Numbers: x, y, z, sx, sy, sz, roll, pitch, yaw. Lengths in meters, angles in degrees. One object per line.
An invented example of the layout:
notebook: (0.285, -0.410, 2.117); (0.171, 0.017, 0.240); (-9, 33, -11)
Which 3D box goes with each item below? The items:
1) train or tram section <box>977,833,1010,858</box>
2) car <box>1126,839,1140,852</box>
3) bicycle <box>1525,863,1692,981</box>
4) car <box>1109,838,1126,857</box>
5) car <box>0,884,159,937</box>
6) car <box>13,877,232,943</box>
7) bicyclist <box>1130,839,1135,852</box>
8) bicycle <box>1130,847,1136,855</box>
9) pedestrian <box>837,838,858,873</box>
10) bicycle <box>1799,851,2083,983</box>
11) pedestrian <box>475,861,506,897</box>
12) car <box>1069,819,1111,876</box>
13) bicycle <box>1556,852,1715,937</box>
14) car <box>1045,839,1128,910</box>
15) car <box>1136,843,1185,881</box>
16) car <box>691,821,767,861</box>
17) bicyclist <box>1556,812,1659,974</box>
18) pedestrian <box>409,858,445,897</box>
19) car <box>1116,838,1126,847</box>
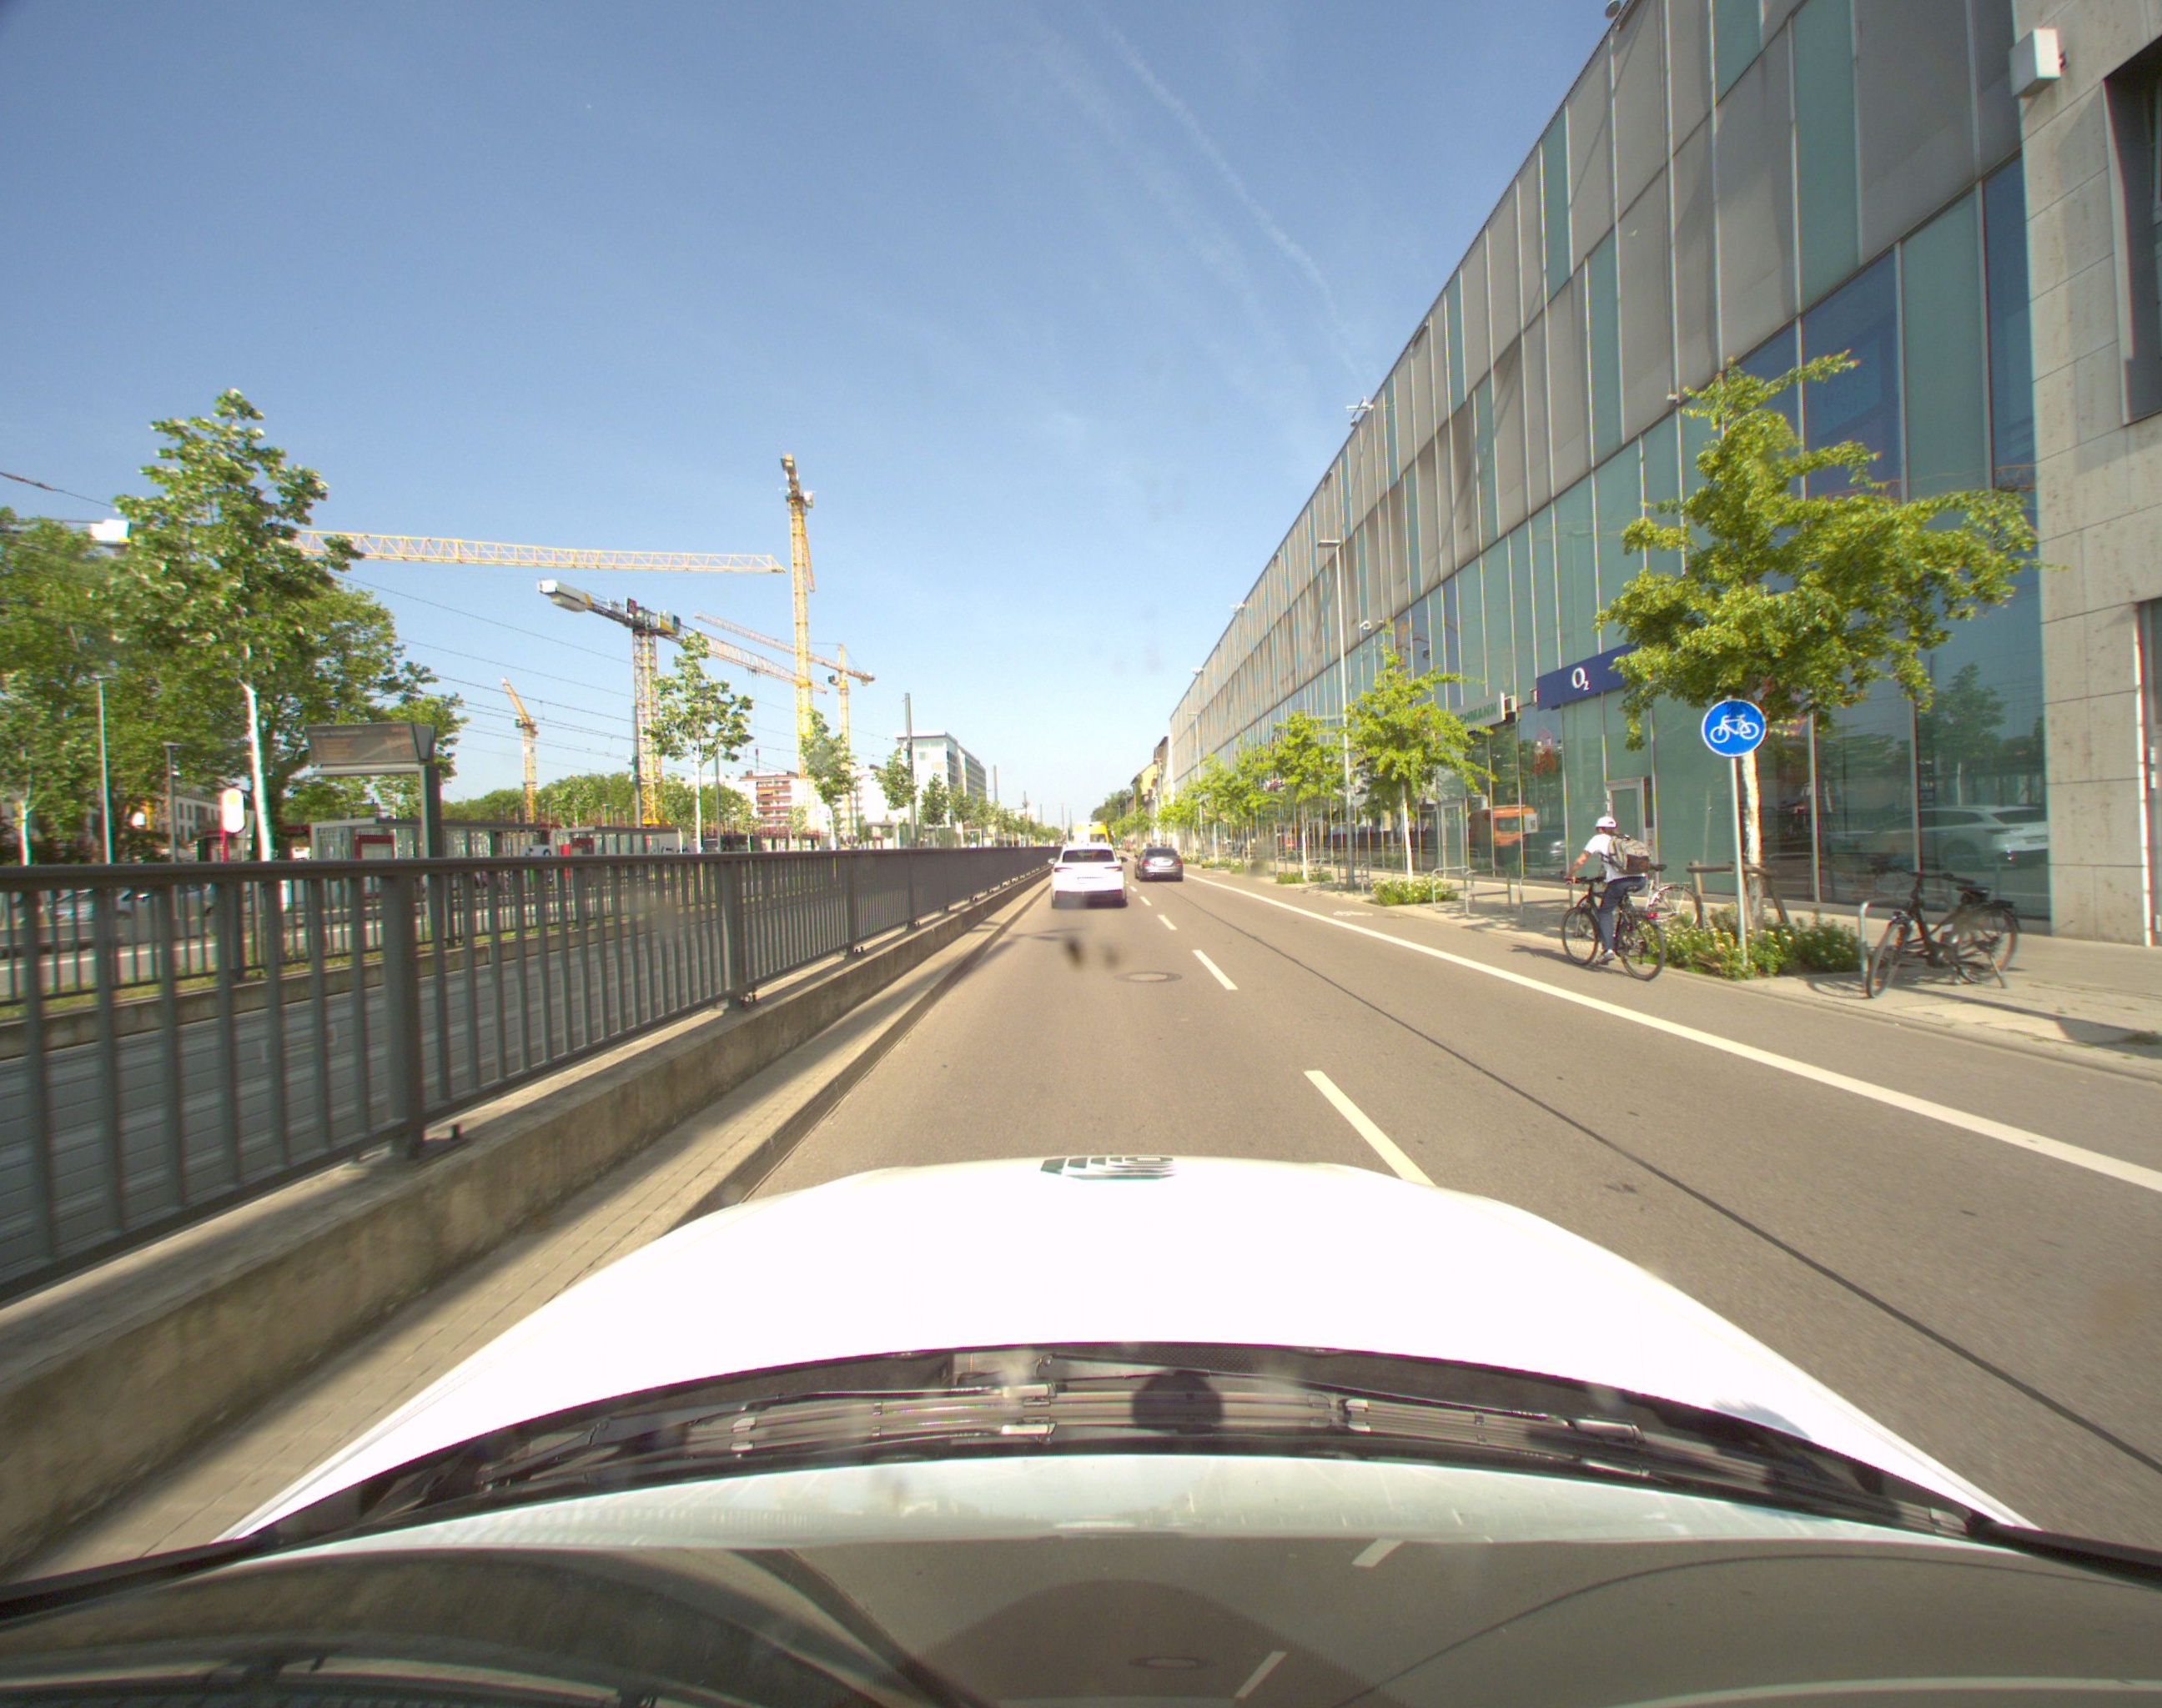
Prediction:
train or tram section: (-13.798, -1.406, 130.429); (2.895, 3.676, 18.142); (-1, 1, 1)
car: (8.310, -1.412, 130.605); (2.056, 2.013, 4.588); (-2, 1, 0)
bicycle: (5.967, 0.712, 9.368); (0.658, 1.117, 2.053); (-2, 1, 3)
car: (3.879, -0.713, 86.919); (1.781, 2.013, 4.003); (-1, 0, 3)
car: (-34.073, 1.859, 27.607); (1.591, 1.463, 3.435); (-2, 1, 1)
car: (-29.347, 1.647, 25.166); (1.714, 1.662, 4.152); (-2, 1, 1)
bicyclist: (6.383, -1.019, 100.678); (0.636, 1.577, 0.772); (-2, 1, 3)
bicycle: (6.407, -0.359, 100.805); (0.653, 0.938, 1.518); (-2, 1, 3)
pedestrian: (-11.233, 0.070, 39.245); (0.733, 1.618, 0.711); (-2, 0, 0)
bicycle: (7.771, 0.549, 7.417); (1.832, 1.113, 0.687); (-1, 1, 2)
pedestrian: (-22.464, 0.941, 31.006); (0.679, 1.300, 0.592); (-3, 1, -3)
car: (0.523, -0.447, 43.900); (2.013, 2.795, 5.403); (-2, 3, 1)
bicycle: (7.871, 0.563, 11.596); (1.871, 1.109, 0.490); (-2, 1, 2)
car: (0.165, 0.447, 20.851); (1.863, 1.574, 4.001); (-2, 1, 1)
car: (3.290, 0.291, 34.414); (1.754, 1.435, 4.116); (-1, 1, 1)
car: (-33.220, -1.203, 77.388); (3.044, 3.512, 9.233); (-2, 1, 0)
bicyclist: (5.957, 0.420, 9.254); (0.648, 1.748, 0.770); (-2, 1, 3)
pedestrian: (-22.587, 0.814, 28.134); (0.679, 1.300, 0.592); (-3, 1, -3)
car: (8.509, -2.428, 174.242); (1.806, 1.812, 3.836); (-2, 1, 0)
